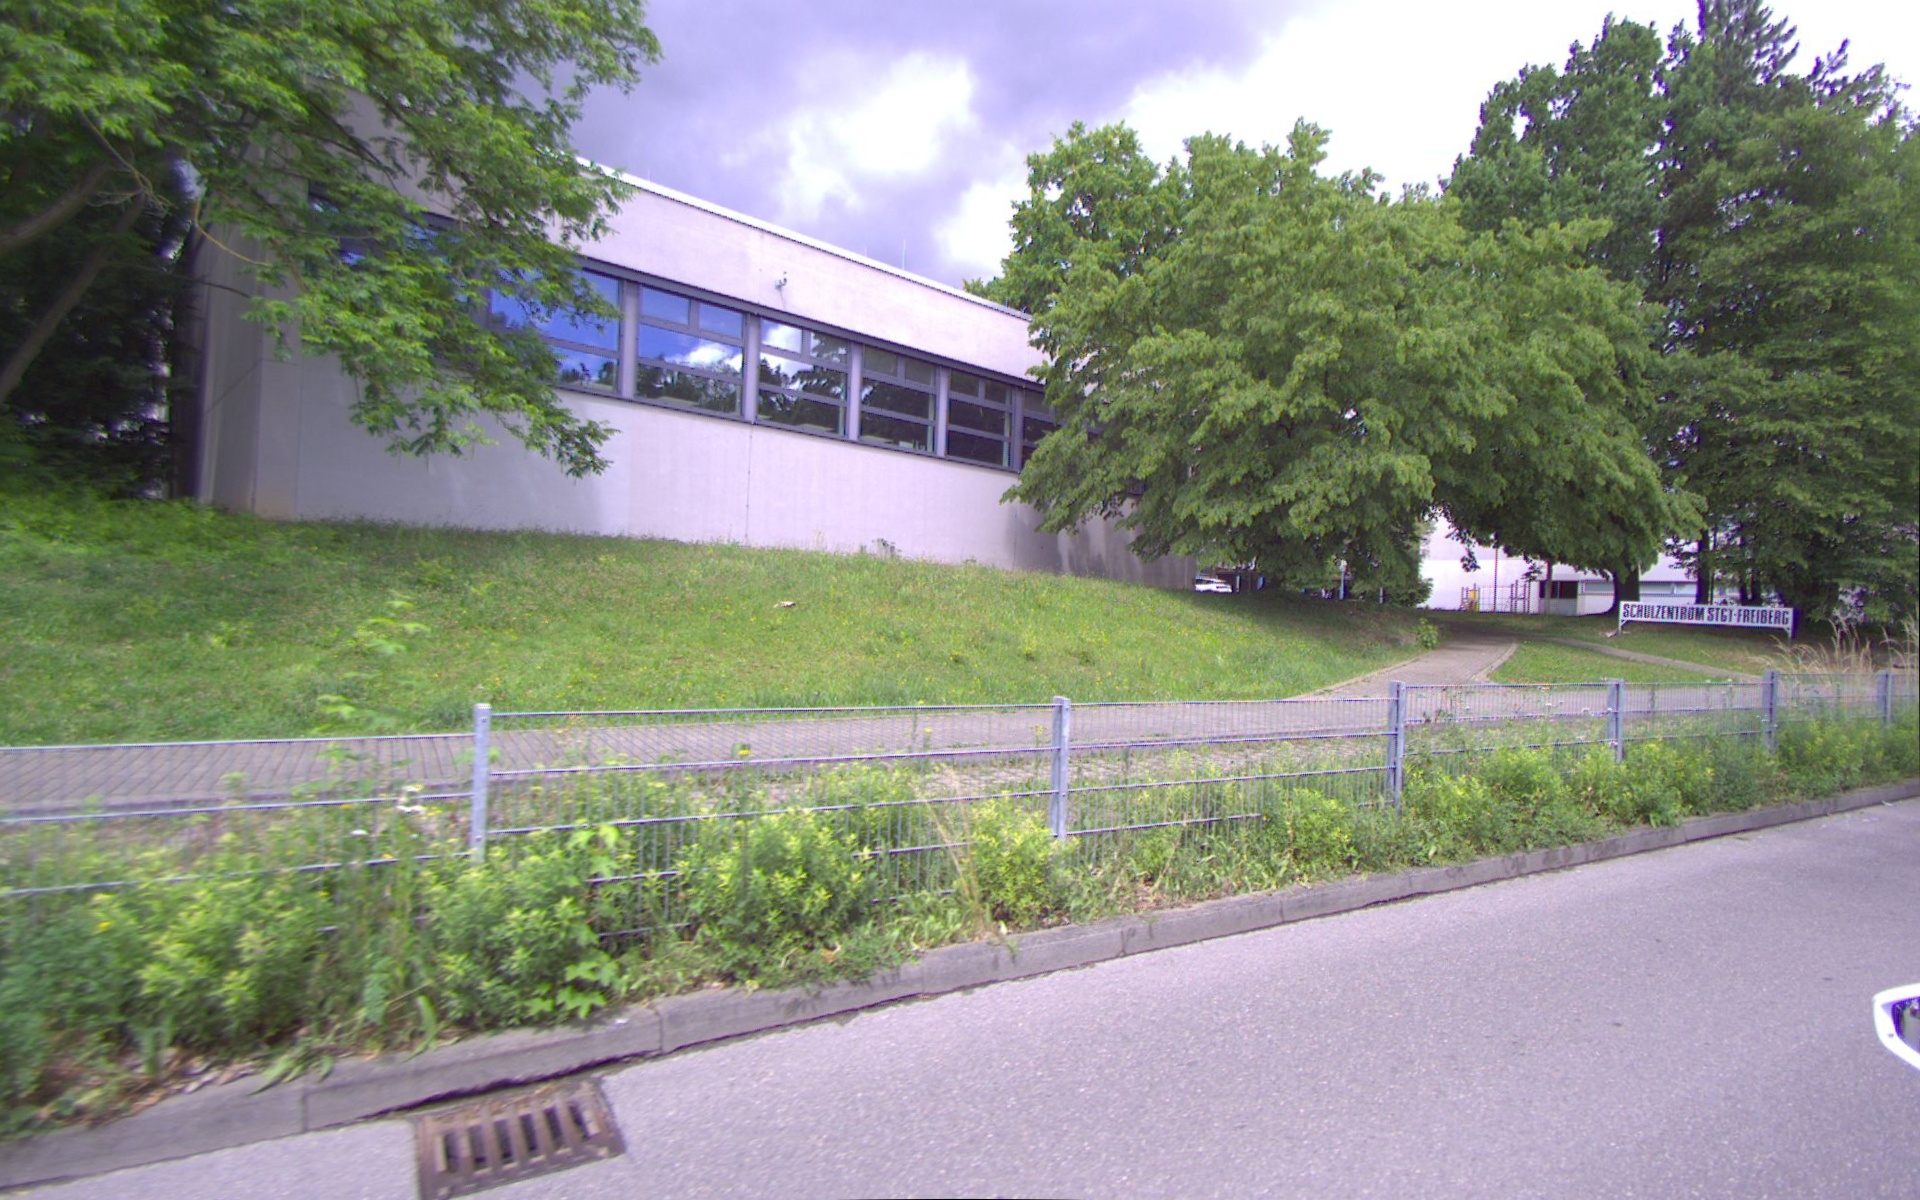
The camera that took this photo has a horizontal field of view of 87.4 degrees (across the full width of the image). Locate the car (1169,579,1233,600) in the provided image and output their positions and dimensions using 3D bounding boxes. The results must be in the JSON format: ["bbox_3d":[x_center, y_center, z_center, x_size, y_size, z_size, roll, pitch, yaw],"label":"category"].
[{"bbox_3d":[16.615,-0.724,69.347,4.037,1.367,1.689,1,0,43],"label":"car"}]
